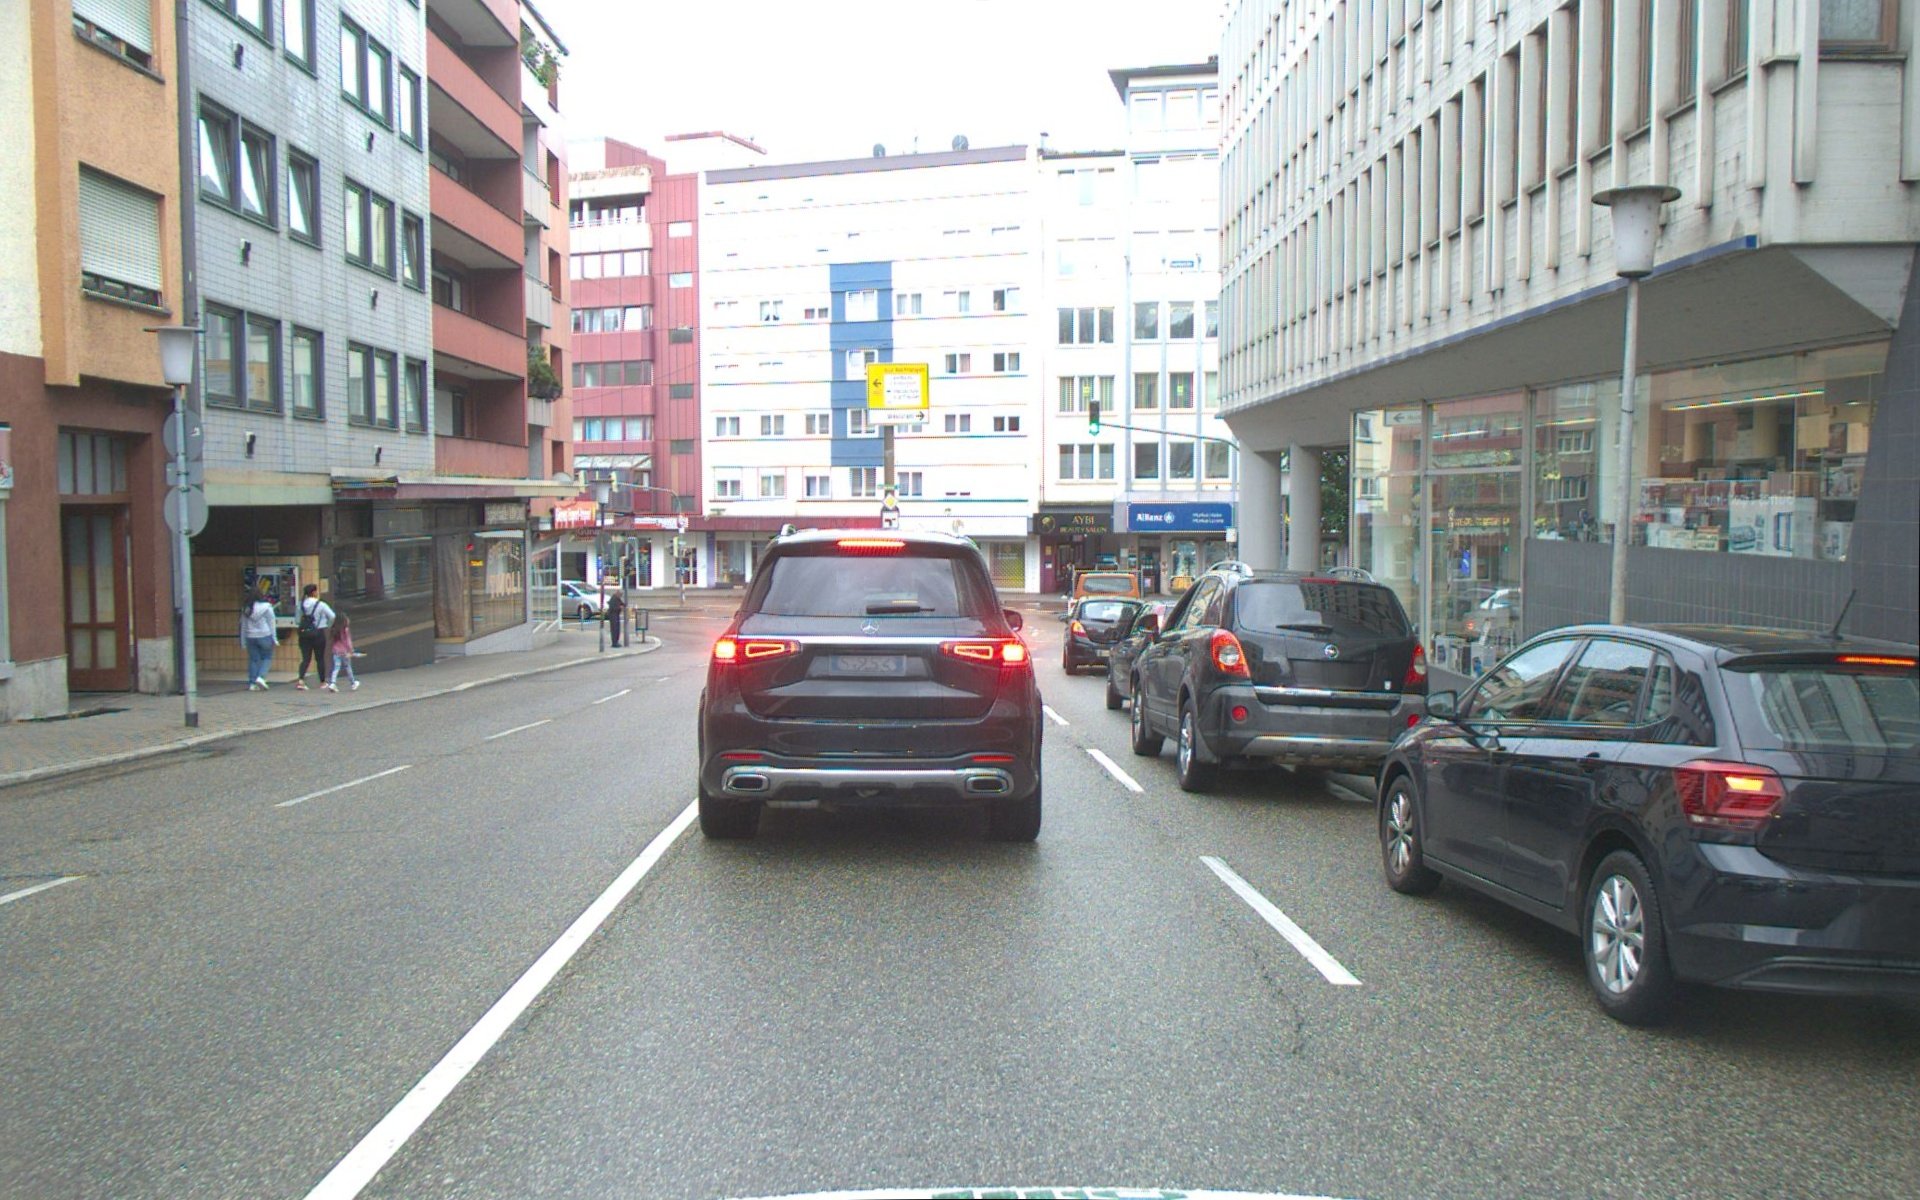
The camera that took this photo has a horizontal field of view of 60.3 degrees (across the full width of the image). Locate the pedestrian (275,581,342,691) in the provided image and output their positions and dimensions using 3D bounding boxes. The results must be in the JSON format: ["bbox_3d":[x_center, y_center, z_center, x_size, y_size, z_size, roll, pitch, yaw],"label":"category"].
[{"bbox_3d":[-10.437,0.572,26.533,0.812,1.719,0.722,2,0,-10],"label":"pedestrian"}]

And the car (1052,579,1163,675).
[{"bbox_3d":[2.786,0.499,32.099,1.785,1.687,4.495,1,0,1],"label":"car"}]

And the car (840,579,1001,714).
[{"bbox_3d":[-0.547,0.517,21.254,1.836,1.521,4.398,1,0,-3],"label":"car"}]

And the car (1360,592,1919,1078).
[{"bbox_3d":[3.182,0.767,7.289,1.655,1.502,3.998,3,0,-3],"label":"car"}]

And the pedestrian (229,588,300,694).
[{"bbox_3d":[-10.723,0.630,25.512,0.812,1.588,0.722,2,0,-10],"label":"pedestrian"}]

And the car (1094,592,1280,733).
[{"bbox_3d":[2.733,0.699,20.723,1.731,1.421,4.001,5,1,1],"label":"car"}]

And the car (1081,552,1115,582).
[{"bbox_3d":[7.962,-1.878,95.201,1.759,1.699,4.003,-1,1,8],"label":"car"}]

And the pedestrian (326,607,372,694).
[{"bbox_3d":[-9.710,0.799,26.303,0.523,1.346,0.722,2,0,-10],"label":"pedestrian"}]

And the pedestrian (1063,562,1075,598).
[{"bbox_3d":[5.437,-0.986,82.430,0.552,1.717,0.757,0,6,5],"label":"pedestrian"}]

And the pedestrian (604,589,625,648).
[{"bbox_3d":[-10.351,0.547,49.571,0.543,1.727,0.623,0,0,-5],"label":"pedestrian"}]

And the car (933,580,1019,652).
[{"bbox_3d":[0.317,0.397,39.492,1.886,1.542,4.661,2,-1,-1],"label":"car"}]

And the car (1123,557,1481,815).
[{"bbox_3d":[2.629,0.584,13.859,1.859,1.724,4.504,3,0,-2],"label":"car"}]

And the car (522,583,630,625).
[{"bbox_3d":[-16.222,0.143,69.927,4.073,1.620,1.742,2,1,14],"label":"car"}]

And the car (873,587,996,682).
[{"bbox_3d":[-0.444,0.537,28.710,1.953,1.512,4.236,-1,0,-1],"label":"car"}]

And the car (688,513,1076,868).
[{"bbox_3d":[-0.506,0.457,10.983,1.998,1.830,4.660,1,0,-3],"label":"car"}]

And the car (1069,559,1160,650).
[{"bbox_3d":[4.111,0.108,44.862,2.196,2.267,5.430,1,0,3],"label":"car"}]
